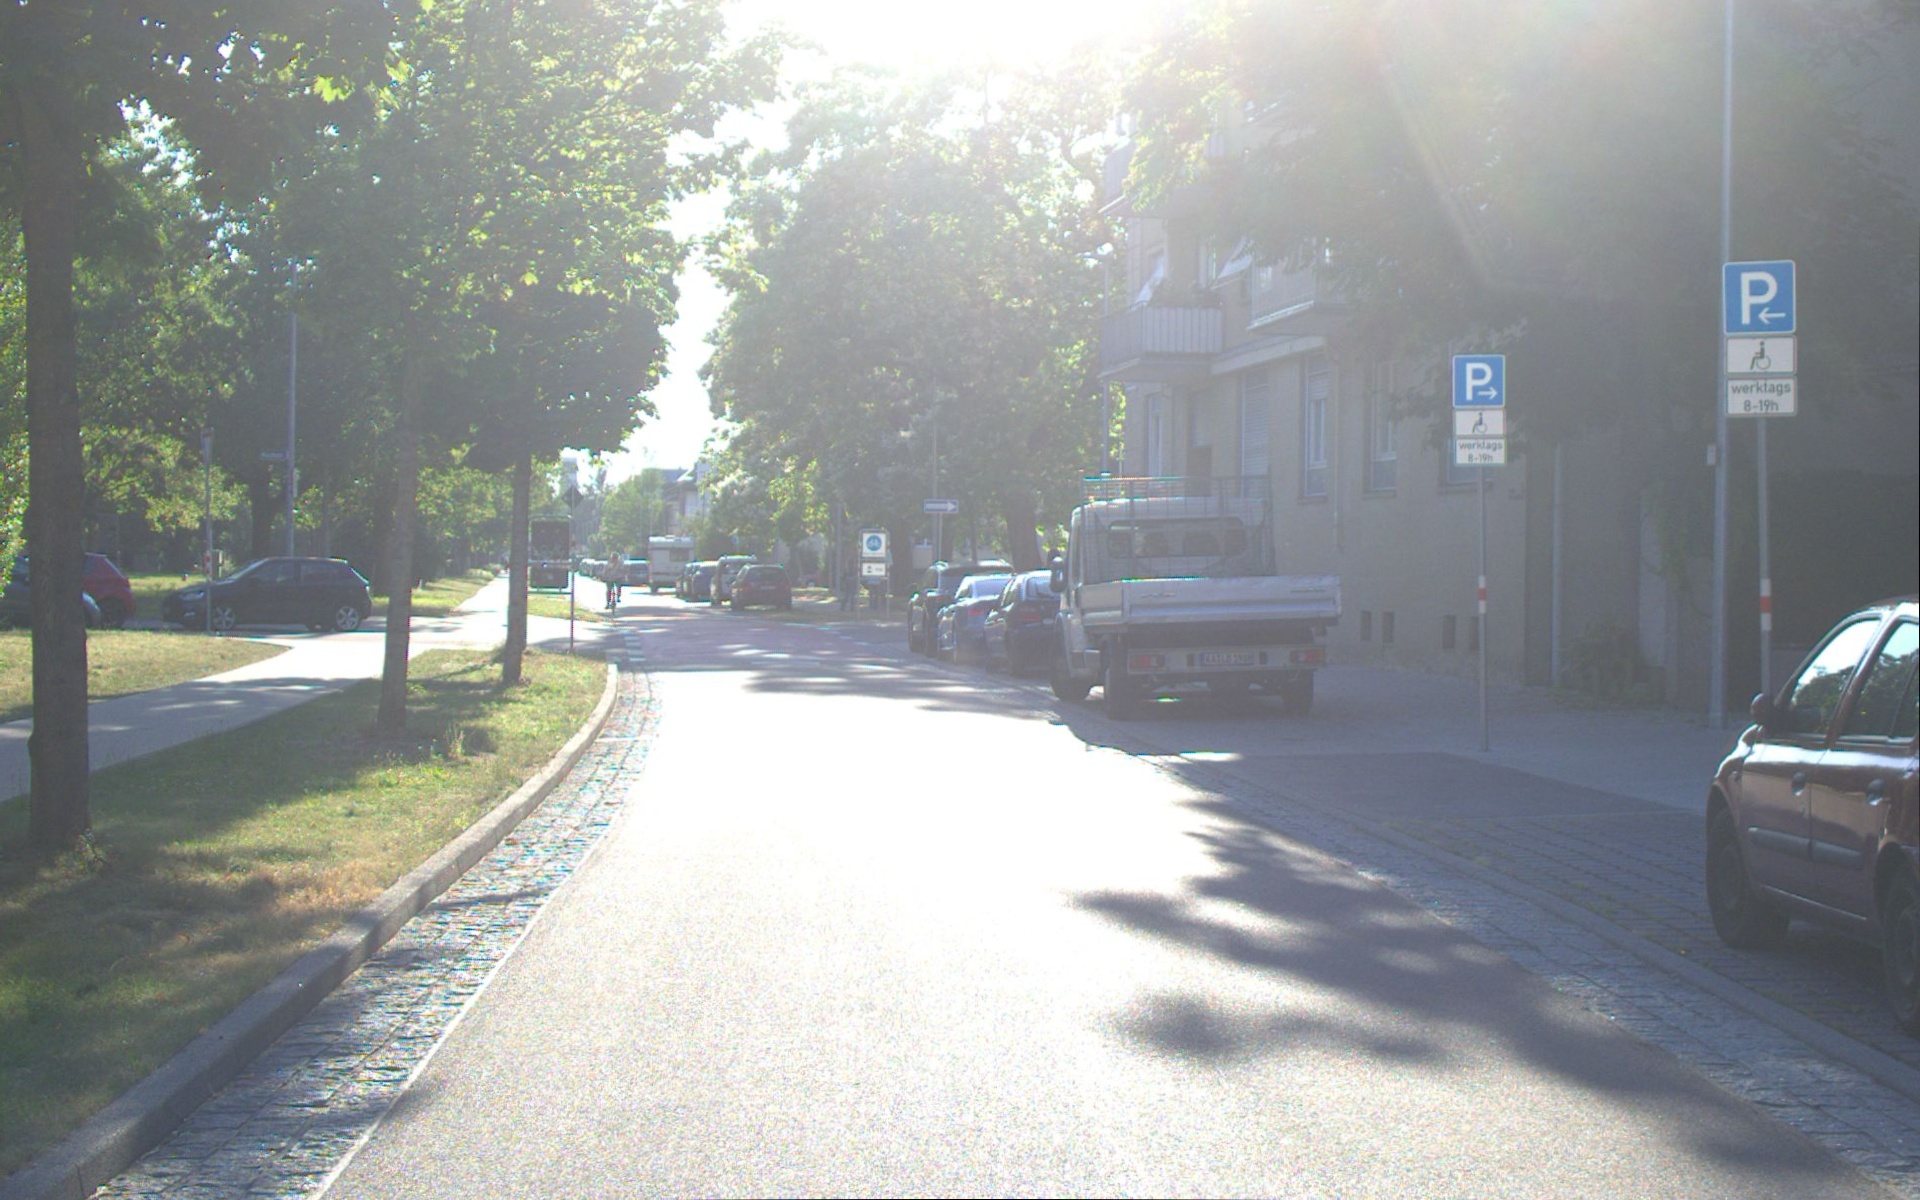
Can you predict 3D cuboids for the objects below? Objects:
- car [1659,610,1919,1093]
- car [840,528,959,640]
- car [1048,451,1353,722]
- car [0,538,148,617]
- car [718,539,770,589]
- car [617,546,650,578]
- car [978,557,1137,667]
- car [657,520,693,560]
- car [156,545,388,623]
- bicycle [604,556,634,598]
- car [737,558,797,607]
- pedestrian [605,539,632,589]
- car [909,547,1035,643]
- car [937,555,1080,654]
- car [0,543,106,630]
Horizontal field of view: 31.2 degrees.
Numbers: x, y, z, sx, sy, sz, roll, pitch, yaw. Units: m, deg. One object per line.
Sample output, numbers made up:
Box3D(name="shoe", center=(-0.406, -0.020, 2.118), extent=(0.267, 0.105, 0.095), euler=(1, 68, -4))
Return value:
Box3D(name="car", center=(3.788, 0.779, 12.323), extent=(1.724, 1.417, 3.906), euler=(0, 1, -1))
Box3D(name="car", center=(-1.167, -0.305, 64.829), extent=(1.822, 2.007, 3.606), euler=(1, 0, -7))
Box3D(name="car", center=(2.348, -0.170, 35.508), extent=(2.211, 2.521, 6.148), euler=(-1, 1, -5))
Box3D(name="car", center=(-17.350, -0.428, 64.188), extent=(3.912, 1.415, 1.772), euler=(1, 1, -28))
Box3D(name="car", center=(-7.813, -1.312, 124.251), extent=(1.793, 1.718, 4.001), euler=(1, 1, -4))
Box3D(name="car", center=(-20.658, -2.403, 217.684), extent=(1.993, 1.963, 4.001), euler=(2, 1, -5))
Box3D(name="car", center=(1.283, 0.135, 46.712), extent=(1.690, 1.435, 3.551), euler=(0, 1, -6))
Box3D(name="car", center=(-14.616, -3.069, 176.395), extent=(1.793, 1.992, 4.001), euler=(1, 1, -4))
Box3D(name="car", center=(-13.239, -0.309, 66.227), extent=(3.987, 1.415, 1.772), euler=(1, 1, -32))
Box3D(name="bicycle", center=(-9.937, -0.682, 100.088), extent=(0.688, 1.198, 2.343), euler=(1, 1, -2))
Box3D(name="car", center=(-6.170, -0.561, 110.361), extent=(1.793, 1.505, 4.000), euler=(1, 1, -2))
Box3D(name="pedestrian", center=(-9.933, -1.041, 100.114), extent=(0.688, 1.429, 1.024), euler=(1, 1, -2))
Box3D(name="car", center=(0.163, -0.116, 58.044), extent=(1.690, 1.560, 4.105), euler=(0, 1, -6))
Box3D(name="car", center=(0.692, 0.040, 52.029), extent=(1.690, 1.435, 4.105), euler=(0, 1, -6))
Box3D(name="car", center=(-16.554, -0.253, 57.644), extent=(3.987, 1.415, 1.772), euler=(1, 1, -31))
